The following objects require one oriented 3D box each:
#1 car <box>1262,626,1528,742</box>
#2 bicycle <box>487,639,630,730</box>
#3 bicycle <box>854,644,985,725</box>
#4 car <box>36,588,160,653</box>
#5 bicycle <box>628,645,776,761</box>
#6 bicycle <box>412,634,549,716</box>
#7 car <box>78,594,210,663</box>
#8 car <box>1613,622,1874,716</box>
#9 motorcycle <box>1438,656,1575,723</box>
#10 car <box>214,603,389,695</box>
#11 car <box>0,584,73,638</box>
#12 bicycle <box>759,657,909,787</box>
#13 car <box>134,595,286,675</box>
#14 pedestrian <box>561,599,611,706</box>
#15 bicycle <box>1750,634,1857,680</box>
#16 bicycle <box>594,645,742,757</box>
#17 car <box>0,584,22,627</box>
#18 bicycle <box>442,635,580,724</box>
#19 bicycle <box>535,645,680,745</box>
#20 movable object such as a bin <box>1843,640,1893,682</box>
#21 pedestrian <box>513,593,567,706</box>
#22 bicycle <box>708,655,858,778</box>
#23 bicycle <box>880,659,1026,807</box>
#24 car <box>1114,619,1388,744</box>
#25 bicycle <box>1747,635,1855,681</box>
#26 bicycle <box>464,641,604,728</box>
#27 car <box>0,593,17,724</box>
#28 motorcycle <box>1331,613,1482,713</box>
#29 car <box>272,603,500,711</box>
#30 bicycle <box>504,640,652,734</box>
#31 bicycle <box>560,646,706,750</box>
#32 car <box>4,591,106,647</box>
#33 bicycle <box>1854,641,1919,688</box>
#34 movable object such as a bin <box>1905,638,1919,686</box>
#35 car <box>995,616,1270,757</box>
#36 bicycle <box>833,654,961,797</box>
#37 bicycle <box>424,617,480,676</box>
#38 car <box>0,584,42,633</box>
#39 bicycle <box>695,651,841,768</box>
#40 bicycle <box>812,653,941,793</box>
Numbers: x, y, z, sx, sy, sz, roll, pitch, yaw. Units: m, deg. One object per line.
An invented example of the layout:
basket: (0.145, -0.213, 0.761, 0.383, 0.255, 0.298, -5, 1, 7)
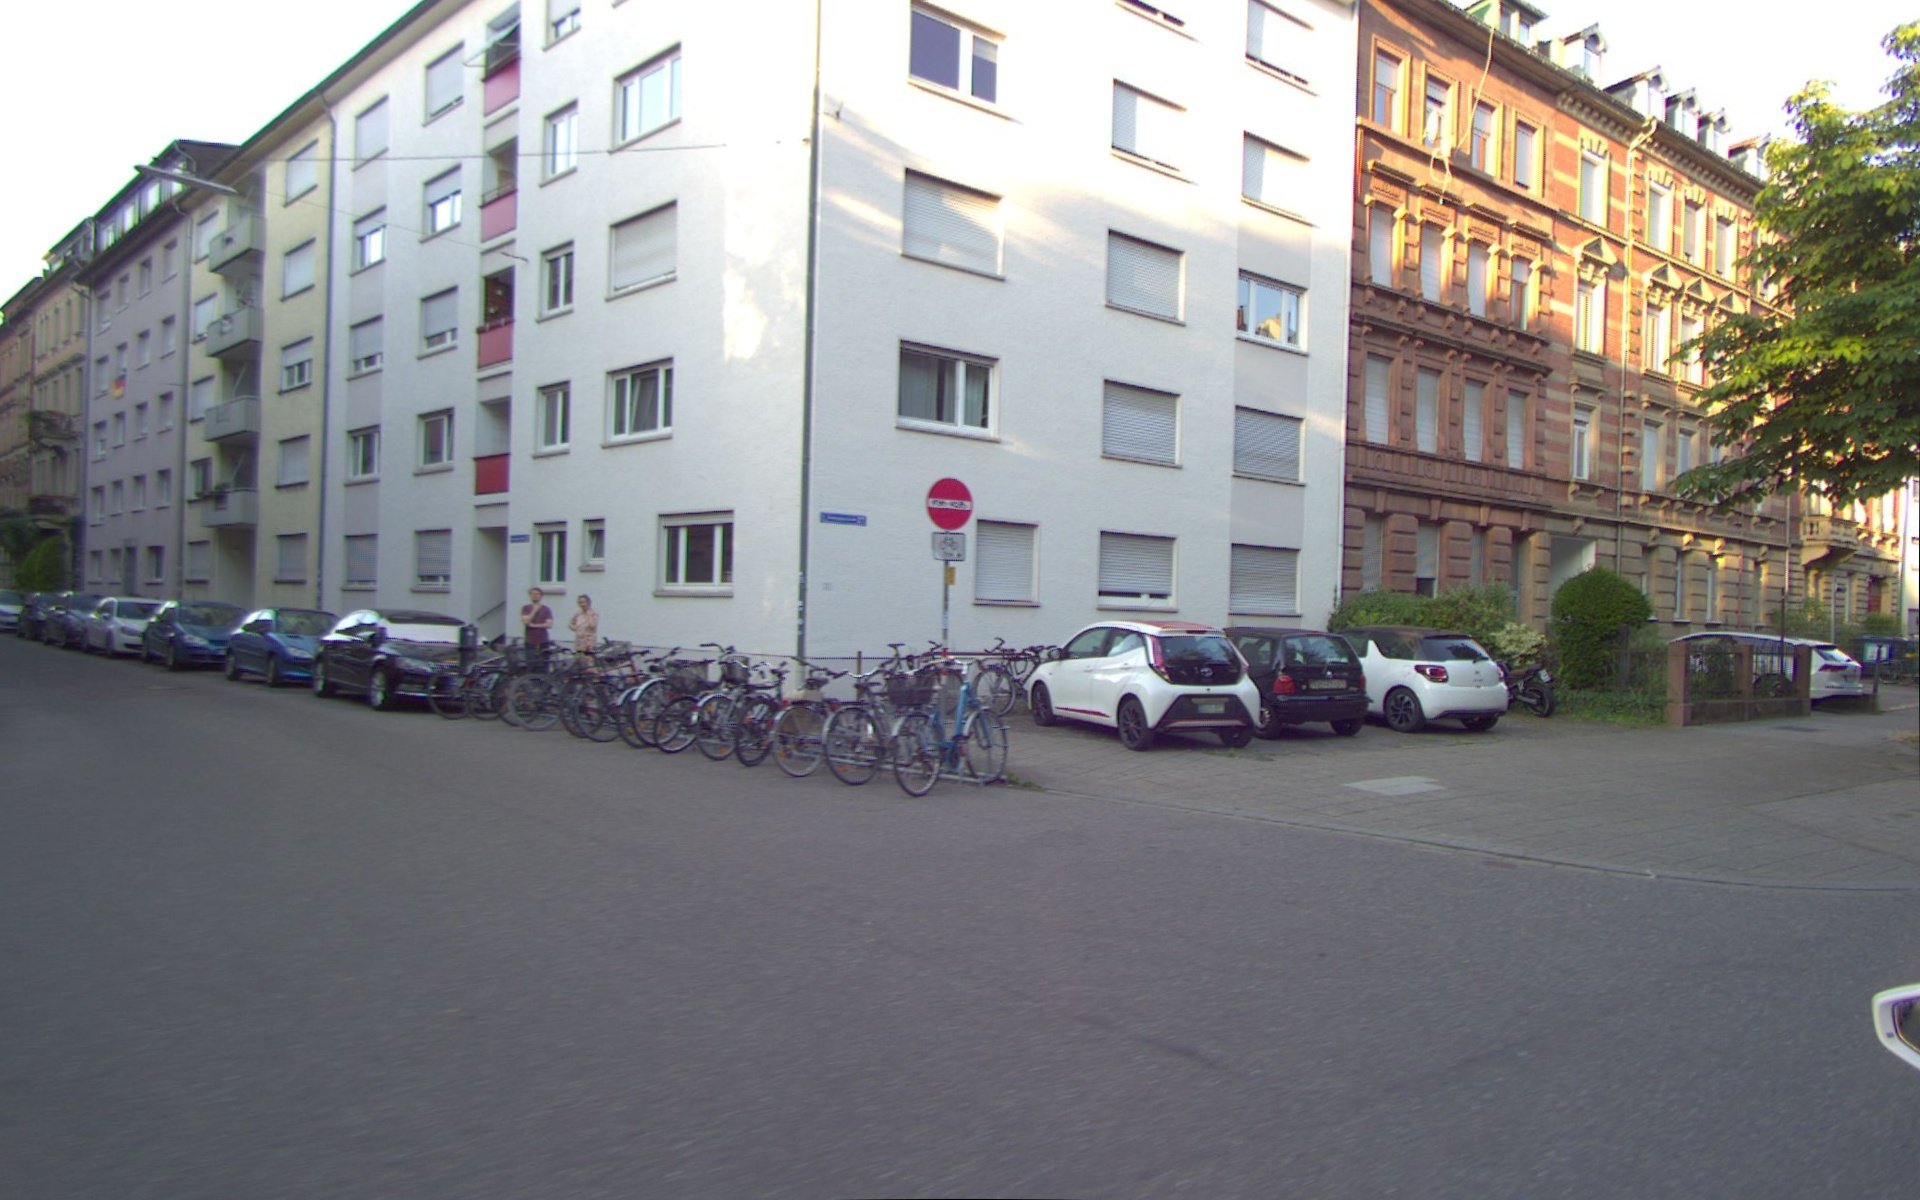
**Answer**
car: (6.563, 1.185, 15.555, 1.791, 1.466, 3.556, 1, 0, -22)
bicycle: (-5.327, 1.087, 13.431, 0.361, 1.120, 1.845, 1, -1, 35)
bicycle: (-0.548, 1.173, 14.140, 1.856, 1.076, 0.394, 2, -1, -31)
car: (-24.128, 0.545, 28.088, 3.939, 1.661, 1.991, 1, -1, 40)
bicycle: (-2.862, 1.114, 11.354, 0.361, 1.167, 1.847, 1, -1, 32)
bicycle: (-7.028, 1.073, 14.814, 0.361, 1.120, 1.845, 1, -1, 35)
car: (-20.608, 0.674, 25.324, 4.045, 1.572, 1.837, 1, -1, 40)
car: (16.833, 1.410, 21.790, 1.690, 1.548, 4.069, 2, 2, -32)
motorcycle: (9.475, 1.532, 17.522, 0.579, 0.971, 2.231, 2, 0, -21)
car: (-12.505, 0.897, 18.997, 3.663, 1.472, 1.684, 1, -5, 40)
car: (-33.066, 0.361, 35.479, 3.939, 1.795, 1.991, 1, -1, 40)
bicycle: (-1.196, 1.149, 9.940, 0.361, 1.124, 1.847, 1, -1, 32)
car: (-16.787, 0.737, 22.418, 3.939, 1.576, 1.833, 1, -1, 40)
pedestrian: (-6.183, 0.848, 16.629, 0.528, 1.706, 0.580, 2, 3, 39)
bicycle: (27.050, 1.810, 32.249, 0.638, 1.208, 2.506, 1, 3, -41)
bicycle: (-3.352, 1.125, 11.695, 0.361, 1.167, 1.847, 1, -1, 32)
car: (-40.067, 0.170, 41.104, 3.940, 1.701, 1.990, 1, -1, 41)
bicycle: (-6.358, 1.095, 14.318, 0.361, 1.181, 1.845, 1, -1, 35)
bicycle: (-4.330, 1.137, 12.479, 0.361, 1.131, 1.847, 1, -1, 32)
movable object such as a bin: (29.105, 1.932, 32.191, 0.998, 1.225, 1.085, 0, 2, -45)
pedestrian: (-6.853, 0.789, 16.412, 0.494, 1.789, 0.621, 2, 4, 37)
bicycle: (-1.791, 1.157, 10.461, 0.361, 1.124, 1.847, 1, -1, 32)
bicycle: (-0.011, 1.138, 9.097, 0.332, 1.196, 1.874, 1, -2, 32)
car: (4.066, 1.074, 14.772, 1.790, 1.466, 4.086, 1, 0, -21)
bicycle: (26.668, 1.804, 31.897, 0.638, 1.208, 2.506, 1, 3, -41)
bicycle: (-5.873, 1.139, 13.956, 0.361, 1.120, 1.845, 1, -1, 35)
car: (-12.512, 0.660, 11.953, 1.697, 1.572, 4.055, 5, -3, -42)
motorcycle: (8.104, 1.089, 18.431, 0.665, 1.660, 2.846, 2, -1, -22)
car: (-9.333, 0.887, 16.262, 3.653, 1.492, 1.794, 1, -3, 36)
bicycle: (-4.954, 1.099, 13.142, 0.395, 1.131, 1.844, 1, -1, 38)
bicycle: (-3.908, 1.139, 12.161, 0.361, 1.131, 1.847, 1, -1, 32)
car: (-28.259, 0.576, 31.340, 3.939, 1.608, 1.823, 1, -1, 40)
bicycle: (27.835, 1.914, 29.293, 0.635, 1.208, 2.520, 1, 2, -25)
movable object such as a bin: (29.653, 1.920, 30.651, 0.998, 1.433, 1.085, 0, 2, -45)
car: (2.066, 0.999, 13.262, 1.684, 1.466, 4.084, 1, 0, -22)
bicycle: (-0.547, 1.123, 9.442, 0.239, 1.197, 1.675, 1, -1, 32)
bicycle: (-11.279, 1.019, 22.279, 1.850, 1.223, 0.395, 1, -1, 40)
car: (-36.653, 0.296, 38.211, 3.938, 1.795, 1.991, 1, -1, 39)
bicycle: (-2.026, 1.133, 10.877, 0.361, 1.124, 1.847, 1, -1, 32)
bicycle: (-0.758, 1.122, 9.594, 0.239, 1.197, 1.675, 1, -1, 32)
